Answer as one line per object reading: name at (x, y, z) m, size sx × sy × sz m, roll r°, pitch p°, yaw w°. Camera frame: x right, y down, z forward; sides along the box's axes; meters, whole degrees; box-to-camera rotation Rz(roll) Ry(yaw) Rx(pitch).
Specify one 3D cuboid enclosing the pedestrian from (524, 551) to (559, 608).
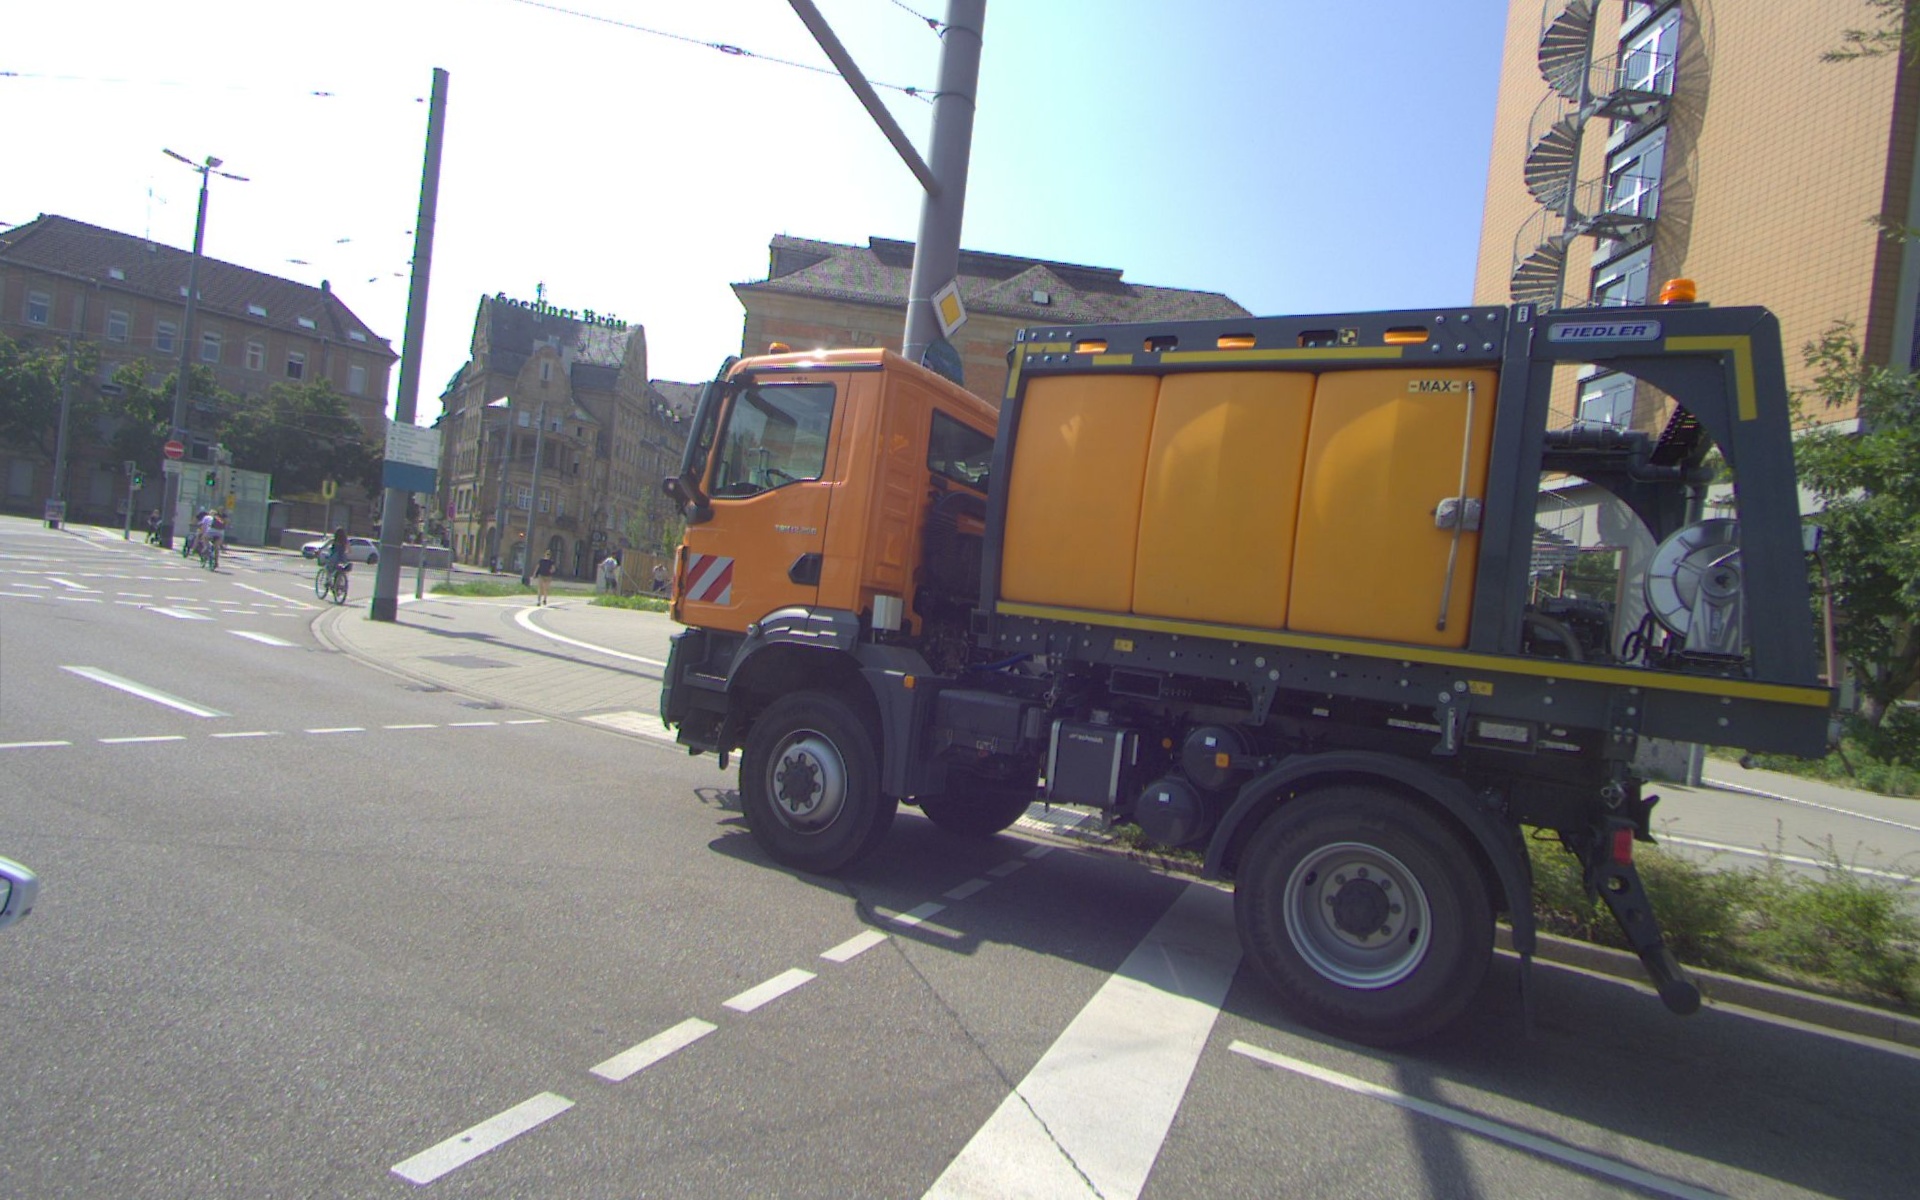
pedestrian at (-12.301, -0.604, 29.615) m, size 0.727 × 1.595 × 0.787 m, roll 6°, pitch 0°, yaw -17°

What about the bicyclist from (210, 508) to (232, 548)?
bicyclist at (-29.949, -2.906, 40.764) m, size 0.608 × 1.548 × 0.516 m, roll 6°, pitch 1°, yaw -36°

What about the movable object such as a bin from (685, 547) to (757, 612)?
movable object such as a bin at (-10.518, -0.819, 44.724) m, size 1.927 × 2.337 × 5.560 m, roll 7°, pitch -2°, yaw -3°

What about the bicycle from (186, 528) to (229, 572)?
bicycle at (-20.554, -1.376, 27.479) m, size 1.630 × 1.068 × 0.535 m, roll 7°, pitch 0°, yaw 41°

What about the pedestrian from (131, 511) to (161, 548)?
pedestrian at (-37.314, -3.239, 46.123) m, size 0.836 × 1.564 × 0.529 m, roll 6°, pitch 1°, yaw 5°

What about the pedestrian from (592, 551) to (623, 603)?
pedestrian at (-12.489, -0.817, 35.673) m, size 0.808 × 1.746 × 0.545 m, roll 6°, pitch 1°, yaw -13°

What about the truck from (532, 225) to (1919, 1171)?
truck at (0.789, 0.094, 6.136) m, size 6.745 × 3.174 × 2.495 m, roll 6°, pitch 0°, yaw 30°

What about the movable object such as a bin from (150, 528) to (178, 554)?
movable object such as a bin at (-36.507, -2.704, 46.134) m, size 0.800 × 1.091 × 0.512 m, roll 6°, pitch 1°, yaw 3°

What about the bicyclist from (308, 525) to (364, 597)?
bicyclist at (-14.159, -0.881, 22.827) m, size 0.652 × 1.536 × 0.734 m, roll 7°, pitch 1°, yaw 33°

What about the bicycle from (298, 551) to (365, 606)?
bicycle at (-14.308, -0.503, 22.889) m, size 1.793 × 1.068 × 0.492 m, roll 7°, pitch 0°, yaw 33°

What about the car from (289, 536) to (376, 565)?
car at (-33.988, -2.650, 54.602) m, size 1.962 × 1.103 × 4.001 m, roll 7°, pitch -1°, yaw 3°

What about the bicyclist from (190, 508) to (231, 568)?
bicyclist at (-20.306, -1.676, 27.251) m, size 0.702 × 1.536 × 0.626 m, roll 7°, pitch 1°, yaw 41°

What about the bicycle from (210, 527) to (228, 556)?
bicycle at (-29.938, -2.369, 40.644) m, size 0.466 × 1.068 × 1.637 m, roll 6°, pitch 0°, yaw -36°

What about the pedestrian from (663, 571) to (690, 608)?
pedestrian at (-11.388, -0.418, 40.402) m, size 0.679 × 1.417 × 0.767 m, roll 7°, pitch 0°, yaw 3°

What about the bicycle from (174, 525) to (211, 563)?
bicycle at (-24.367, -1.796, 31.923) m, size 1.630 × 1.068 × 0.535 m, roll 7°, pitch 0°, yaw 41°

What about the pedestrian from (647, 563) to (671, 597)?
pedestrian at (-11.549, -0.770, 38.577) m, size 0.660 × 1.229 × 0.523 m, roll 6°, pitch 1°, yaw -34°

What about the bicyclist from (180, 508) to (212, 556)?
bicyclist at (-24.066, -2.158, 31.695) m, size 0.881 × 1.410 × 0.529 m, roll 7°, pitch 1°, yaw 41°
